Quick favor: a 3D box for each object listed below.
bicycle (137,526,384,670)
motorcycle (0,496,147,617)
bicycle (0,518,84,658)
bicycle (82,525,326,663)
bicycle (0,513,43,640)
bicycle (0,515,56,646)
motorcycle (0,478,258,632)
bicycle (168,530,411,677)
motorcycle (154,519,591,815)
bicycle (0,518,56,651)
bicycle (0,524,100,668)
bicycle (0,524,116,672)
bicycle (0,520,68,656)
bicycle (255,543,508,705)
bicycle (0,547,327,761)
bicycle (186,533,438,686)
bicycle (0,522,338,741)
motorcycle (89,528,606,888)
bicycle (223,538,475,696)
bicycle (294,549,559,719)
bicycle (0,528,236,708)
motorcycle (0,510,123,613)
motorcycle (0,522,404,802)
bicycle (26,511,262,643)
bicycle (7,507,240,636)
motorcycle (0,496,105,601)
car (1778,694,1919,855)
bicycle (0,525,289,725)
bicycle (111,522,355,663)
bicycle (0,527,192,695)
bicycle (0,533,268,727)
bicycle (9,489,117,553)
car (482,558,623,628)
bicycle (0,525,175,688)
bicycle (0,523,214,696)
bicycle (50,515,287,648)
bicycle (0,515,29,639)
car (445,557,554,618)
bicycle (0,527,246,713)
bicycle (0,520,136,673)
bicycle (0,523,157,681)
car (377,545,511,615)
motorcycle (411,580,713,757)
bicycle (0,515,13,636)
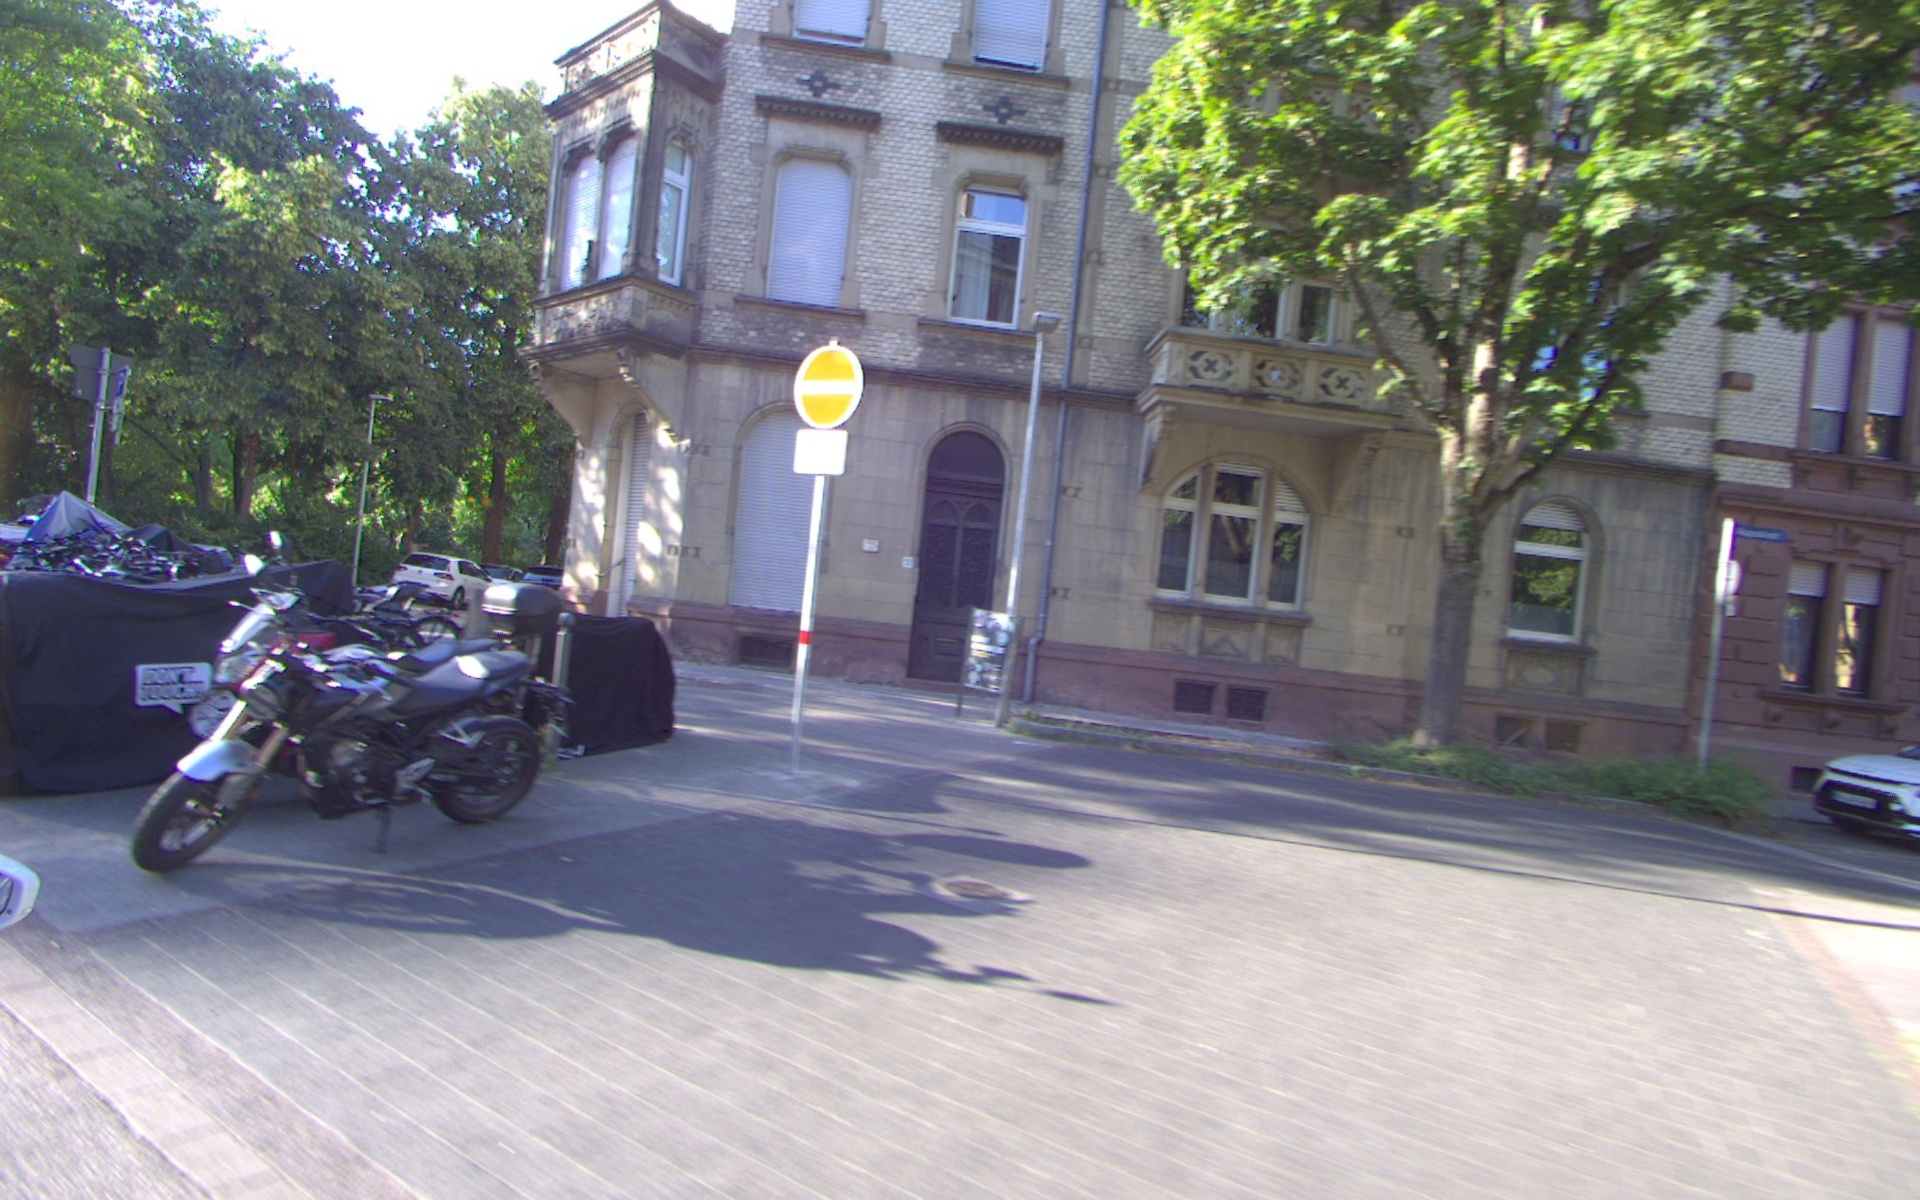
[{"bbox_3d":[-6.859,0.034,9.997,0.471,1.261,1.929,7,0,26],"label":"bicycle"},{"bbox_3d":[-11.720,-0.583,12.574,0.647,1.358,2.278,6,0,43],"label":"motorcycle"},{"bbox_3d":[-9.009,-0.144,8.837,0.297,1.261,1.929,7,0,26],"label":"bicycle"},{"bbox_3d":[-7.758,-0.009,10.445,0.471,1.261,1.929,7,0,26],"label":"bicycle"},{"bbox_3d":[-9.999,-0.293,9.498,0.297,1.261,1.929,7,0,26],"label":"bicycle"},{"bbox_3d":[-9.718,-0.246,9.326,0.297,1.261,1.929,7,0,26],"label":"bicycle"},{"bbox_3d":[-9.836,-0.468,11.948,0.742,1.550,2.288,6,-1,26],"label":"motorcycle"},{"bbox_3d":[-6.404,0.089,9.742,0.388,1.261,1.929,7,0,26],"label":"bicycle"},{"bbox_3d":[-3.263,0.356,5.829,0.683,1.380,2.024,7,1,32],"label":"motorcycle"},{"bbox_3d":[-9.576,-0.199,9.172,0.297,1.261,1.929,7,0,26],"label":"bicycle"},{"bbox_3d":[-8.718,-0.065,8.687,0.297,1.261,1.910,7,0,26],"label":"bicycle"},{"bbox_3d":[-8.431,-0.040,8.511,0.297,1.261,1.929,7,0,26],"label":"bicycle"},{"bbox_3d":[-9.305,-0.155,8.996,0.297,1.261,1.929,7,0,26],"label":"bicycle"},{"bbox_3d":[-5.074,0.250,8.993,0.471,1.261,1.929,7,0,26],"label":"bicycle"},{"bbox_3d":[-4.987,0.307,6.168,0.436,1.142,1.818,7,2,30],"label":"bicycle"},{"bbox_3d":[-6.004,0.137,9.470,0.471,1.261,1.929,7,0,26],"label":"bicycle"},{"bbox_3d":[-5.449,0.225,6.846,0.637,1.261,1.929,7,0,26],"label":"bicycle"},{"bbox_3d":[-2.784,0.468,4.884,0.610,1.343,2.018,7,0,28],"label":"motorcycle"},{"bbox_3d":[-5.510,0.197,9.223,0.471,1.261,1.929,7,0,26],"label":"bicycle"},{"bbox_3d":[-4.540,0.315,8.741,0.637,1.261,1.929,7,0,26],"label":"bicycle"},{"bbox_3d":[-6.661,0.152,7.601,0.297,1.261,1.929,7,0,26],"label":"bicycle"},{"bbox_3d":[-12.451,-0.561,13.063,0.958,1.194,2.277,6,-1,44],"label":"motorcycle"},{"bbox_3d":[-4.457,0.294,5.731,0.889,1.302,2.024,7,2,30],"label":"motorcycle"},{"bbox_3d":[-8.976,-0.204,11.180,0.471,1.261,1.929,7,0,26],"label":"bicycle"},{"bbox_3d":[-9.406,-0.275,11.416,0.444,1.261,1.929,7,0,26],"label":"bicycle"},{"bbox_3d":[-13.511,-0.779,13.877,0.924,1.358,2.372,6,-1,22],"label":"motorcycle"},{"bbox_3d":[12.749,2.267,12.225,4.142,1.631,1.780,7,0,-4],"label":"car"},{"bbox_3d":[-5.878,0.201,7.086,0.297,1.261,1.929,7,0,26],"label":"bicycle"},{"bbox_3d":[-7.307,-0.021,10.242,0.471,1.261,1.929,7,0,26],"label":"bicycle"},{"bbox_3d":[-7.246,0.096,7.883,0.297,1.261,1.929,7,0,26],"label":"bicycle"},{"bbox_3d":[-6.146,0.233,7.238,0.297,1.261,1.929,7,0,26],"label":"bicycle"},{"bbox_3d":[-22.037,-1.938,24.722,2.107,1.302,1.026,7,2,20],"label":"bicycle"},{"bbox_3d":[-9.746,-0.097,24.456,1.963,1.393,4.366,3,-3,-6],"label":"car"},{"bbox_3d":[-7.533,0.056,8.063,0.297,1.261,1.929,7,0,26],"label":"bicycle"},{"bbox_3d":[-6.952,0.088,7.747,0.297,1.261,1.929,7,0,26],"label":"bicycle"},{"bbox_3d":[-8.525,-0.151,10.946,0.471,1.261,1.929,7,0,26],"label":"bicycle"},{"bbox_3d":[-10.282,-0.298,9.641,0.297,1.261,1.929,7,0,26],"label":"bicycle"},{"bbox_3d":[-15.312,-0.357,33.684,1.849,1.478,4.003,10,-4,-4],"label":"car"},{"bbox_3d":[-6.426,0.166,7.389,0.297,1.261,1.929,7,0,26],"label":"bicycle"},{"bbox_3d":[-8.123,-0.044,8.369,0.297,1.261,1.929,7,0,26],"label":"bicycle"},{"bbox_3d":[-7.824,0.014,8.226,0.297,1.261,1.929,7,0,26],"label":"bicycle"},{"bbox_3d":[-14.782,-0.509,29.092,1.849,1.427,4.003,10,-4,-4],"label":"car"},{"bbox_3d":[-3.032,0.505,7.906,0.889,1.123,2.025,7,1,30],"label":"motorcycle"},{"bbox_3d":[-10.576,-0.321,9.783,0.297,1.261,1.929,7,0,26],"label":"bicycle"}]
